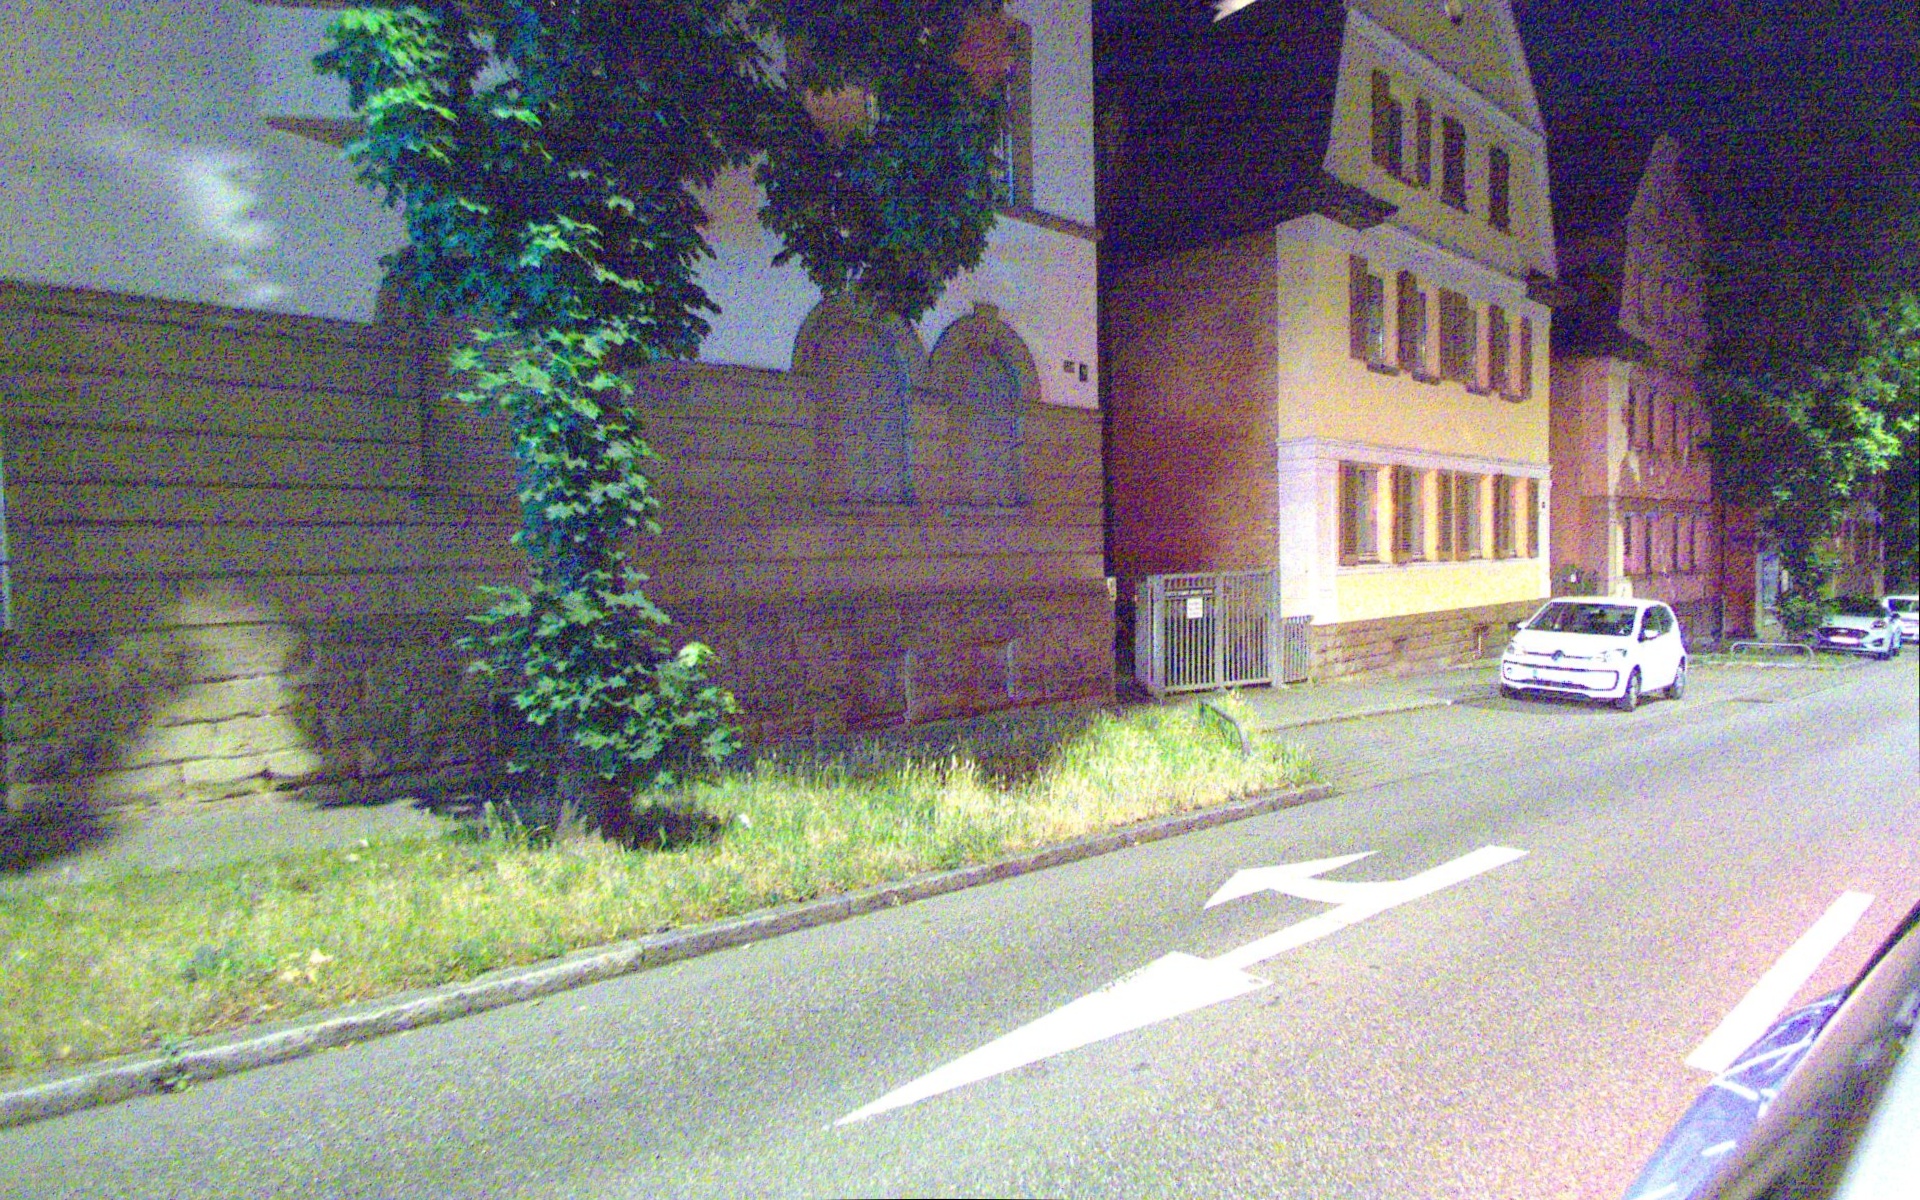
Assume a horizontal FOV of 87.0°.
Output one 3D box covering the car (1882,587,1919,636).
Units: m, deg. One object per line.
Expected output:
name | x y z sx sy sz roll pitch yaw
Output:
car | 33.790 0.395 35.349 4.281 1.616 1.742 0 3 -40

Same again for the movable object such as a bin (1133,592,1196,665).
movable object such as a bin | 3.109 0.418 15.399 0.742 1.062 0.608 0 0 -41

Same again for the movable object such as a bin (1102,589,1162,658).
movable object such as a bin | 2.701 0.355 15.881 0.742 1.062 0.608 0 0 -41

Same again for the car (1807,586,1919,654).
car | 23.807 0.475 26.579 3.977 1.572 1.862 0 3 -43

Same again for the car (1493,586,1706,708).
car | 9.324 0.581 14.658 3.541 1.503 1.671 0 2 -42
